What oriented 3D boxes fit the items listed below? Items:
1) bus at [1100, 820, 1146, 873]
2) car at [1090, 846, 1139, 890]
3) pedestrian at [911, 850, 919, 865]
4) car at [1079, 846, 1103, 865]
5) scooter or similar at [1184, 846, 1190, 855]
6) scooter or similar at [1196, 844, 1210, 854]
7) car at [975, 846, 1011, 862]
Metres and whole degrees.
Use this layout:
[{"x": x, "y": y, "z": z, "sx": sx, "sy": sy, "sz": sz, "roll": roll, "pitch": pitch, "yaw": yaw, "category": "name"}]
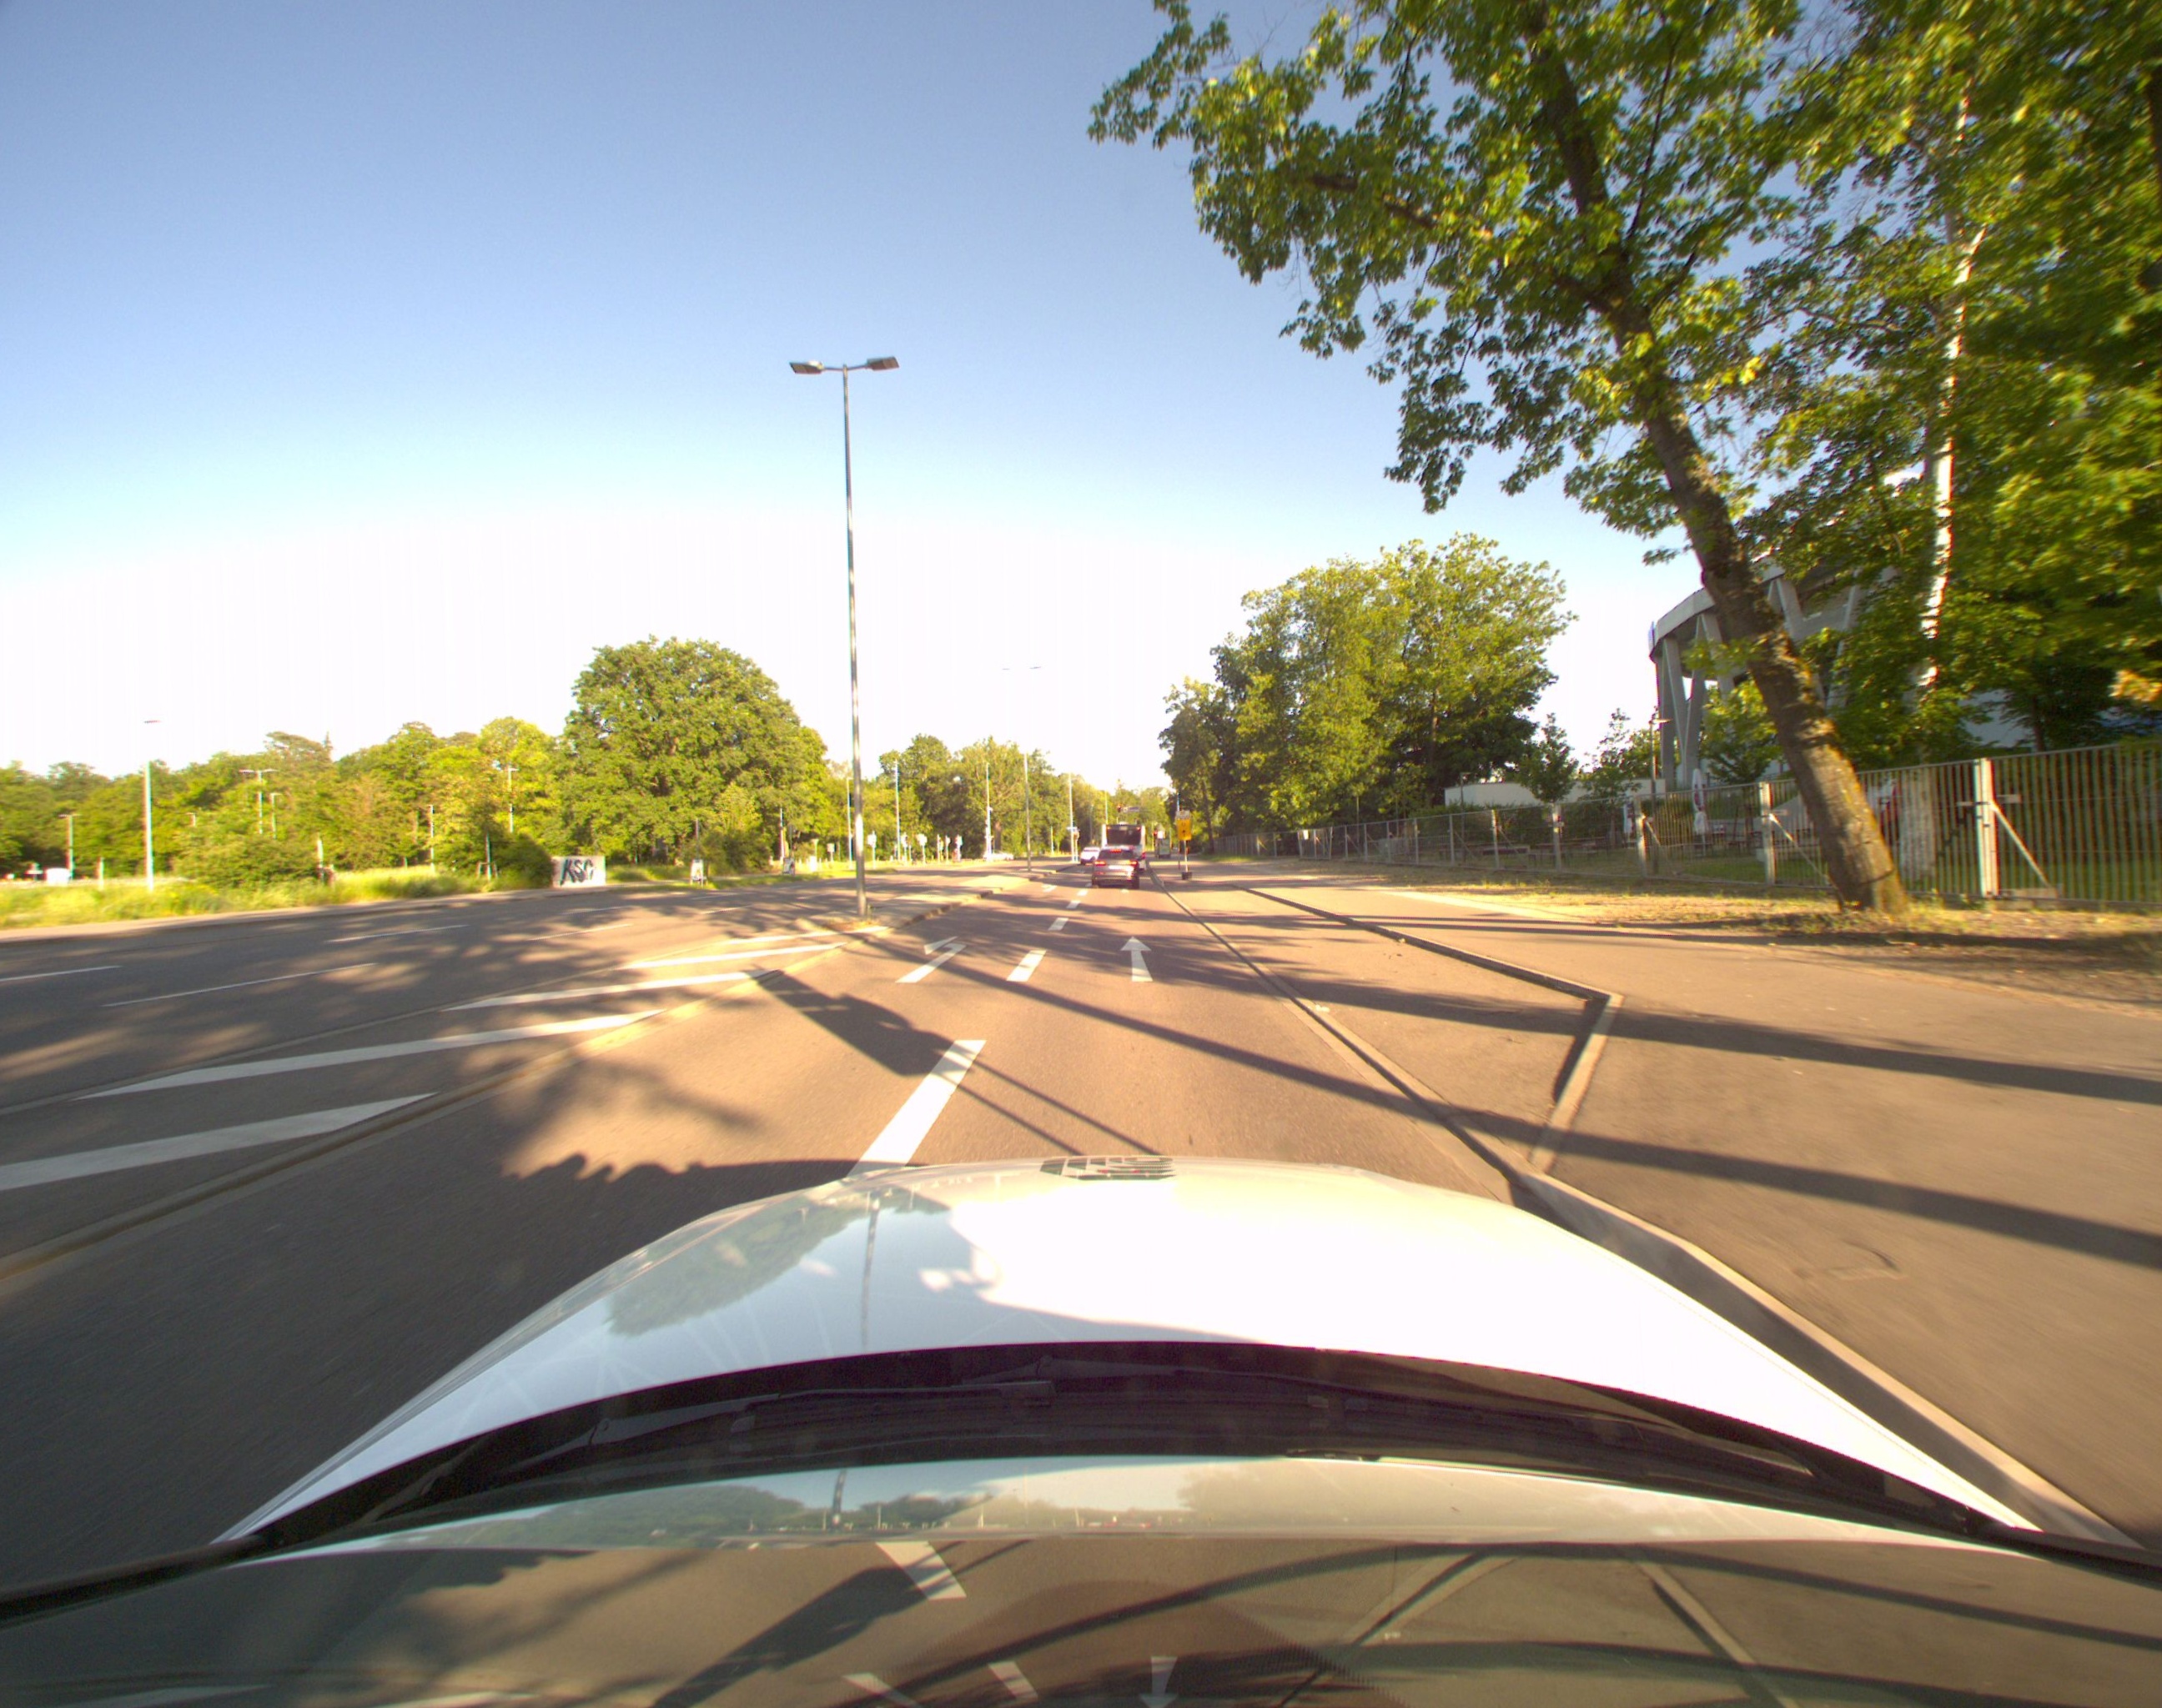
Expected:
[{"x": 2.702, "y": -0.439, "z": 50.820, "sx": 2.583, "sy": 2.989, "sz": 9.337, "roll": 0, "pitch": 0, "yaw": 4, "category": "bus"}, {"x": 1.412, "y": 0.506, "z": 32.910, "sx": 1.890, "sy": 1.632, "sz": 4.005, "roll": 0, "pitch": 1, "yaw": 4, "category": "car"}, {"x": -18.517, "y": 0.380, "z": 90.879, "sx": 0.652, "sy": 1.560, "sz": 0.533, "roll": -2, "pitch": 0, "yaw": -38, "category": "pedestrian"}, {"x": 0.883, "y": 0.132, "z": 69.053, "sx": 1.828, "sy": 1.518, "sz": 4.005, "roll": -1, "pitch": 1, "yaw": 4, "category": "car"}, {"x": 16.549, "y": -0.581, "z": 127.278, "sx": 0.506, "sy": 1.444, "sz": 2.021, "roll": -2, "pitch": 0, "yaw": -1, "category": "scooter or similar"}, {"x": 18.733, "y": -0.763, "z": 124.759, "sx": 2.023, "sy": 1.444, "sz": 0.601, "roll": -2, "pitch": 0, "yaw": -21, "category": "scooter or similar"}, {"x": -10.438, "y": 0.023, "z": 96.310, "sx": 3.992, "sy": 1.640, "sz": 2.056, "roll": -3, "pitch": 0, "yaw": -14, "category": "car"}]
